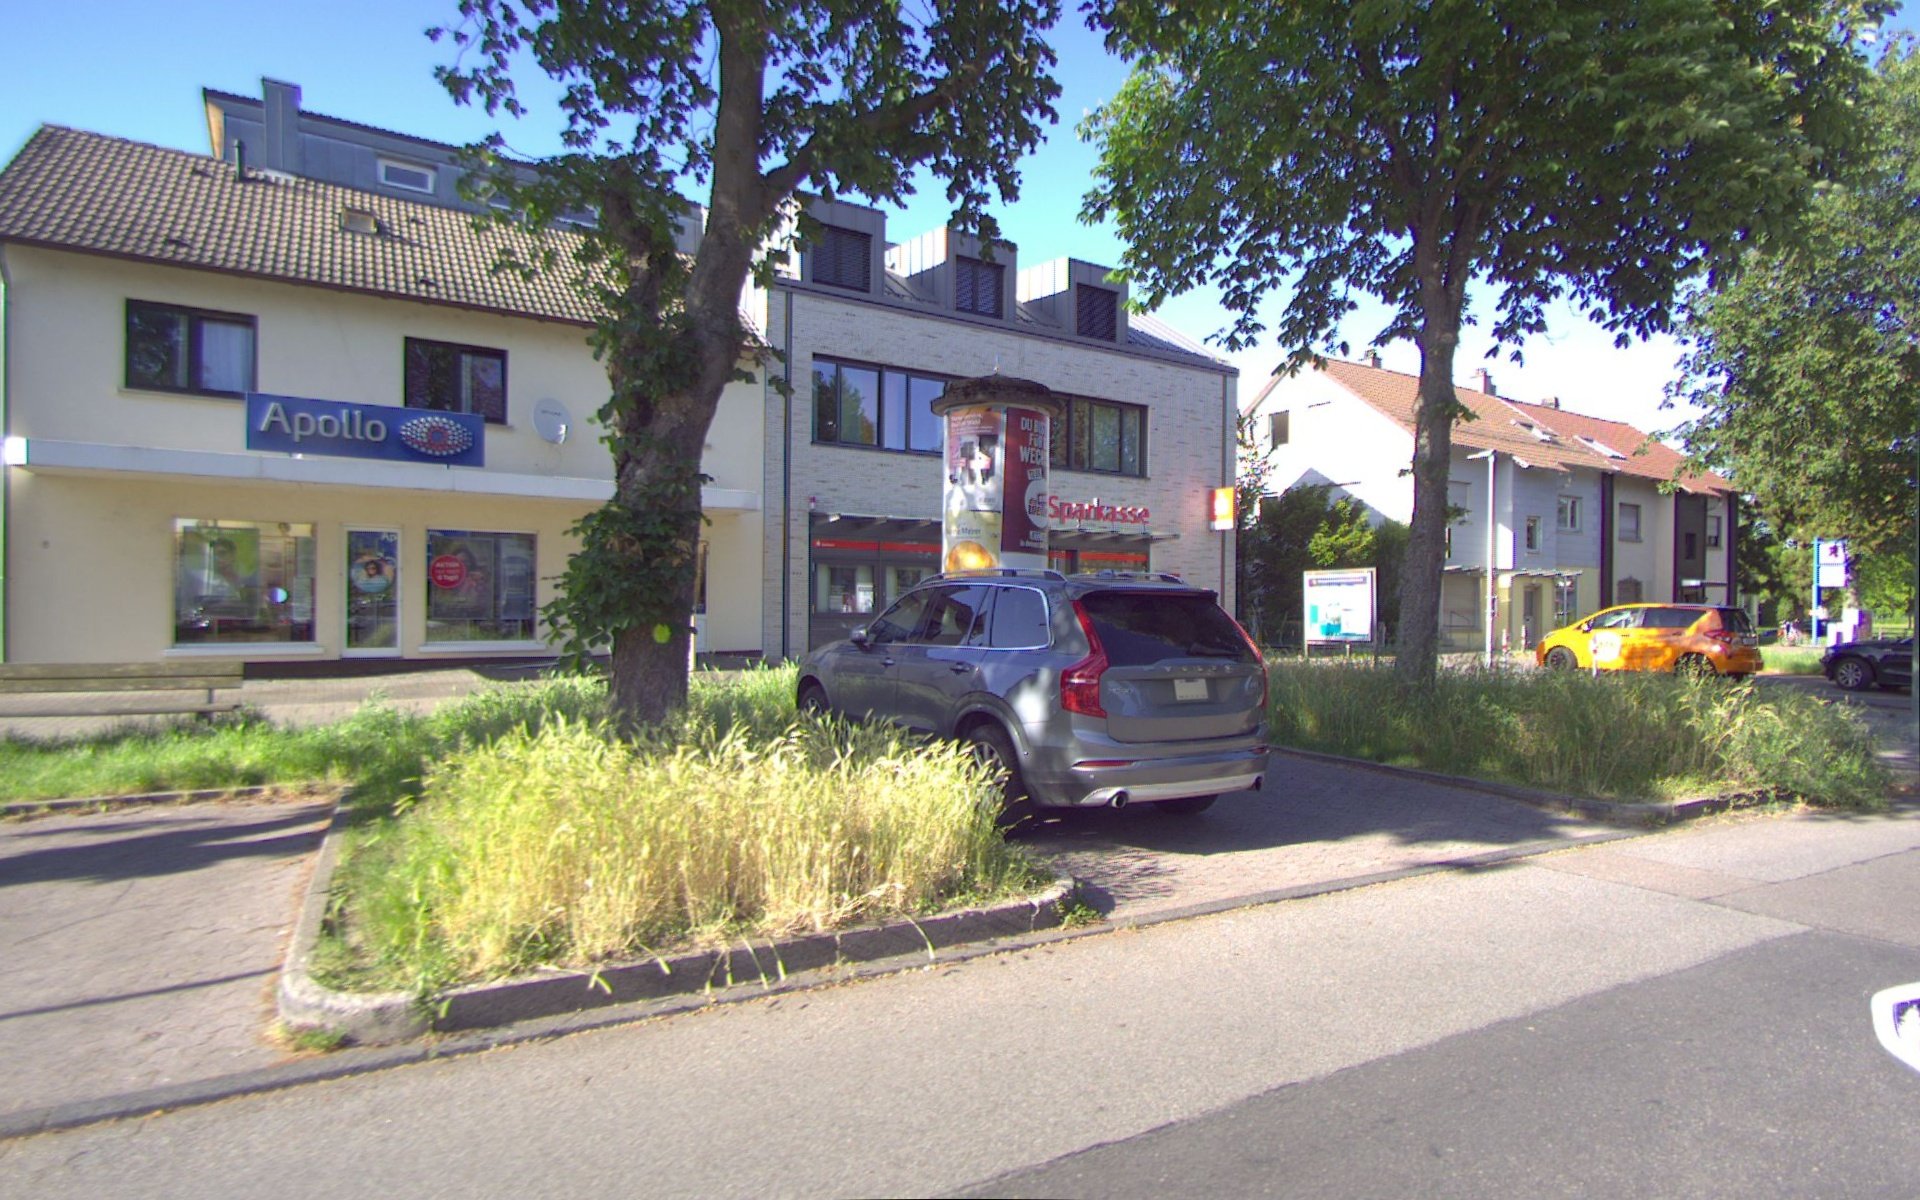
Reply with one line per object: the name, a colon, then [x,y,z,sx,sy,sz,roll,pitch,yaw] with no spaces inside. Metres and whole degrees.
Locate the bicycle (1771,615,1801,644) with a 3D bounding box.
bicycle: [36.268,1.268,44.060,0.696,1.192,4.031,0,0,44]

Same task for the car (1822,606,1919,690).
car: [18.452,0.945,18.175,1.617,1.469,3.974,1,2,-25]

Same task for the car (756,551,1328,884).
car: [0.207,0.563,8.184,1.978,1.751,5.031,1,3,-32]

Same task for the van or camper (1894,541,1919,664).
van or camper: [24.284,0.215,21.565,1.974,2.843,5.754,1,3,-27]

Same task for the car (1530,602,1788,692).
car: [14.293,0.888,20.741,1.851,1.563,3.962,1,1,-34]
